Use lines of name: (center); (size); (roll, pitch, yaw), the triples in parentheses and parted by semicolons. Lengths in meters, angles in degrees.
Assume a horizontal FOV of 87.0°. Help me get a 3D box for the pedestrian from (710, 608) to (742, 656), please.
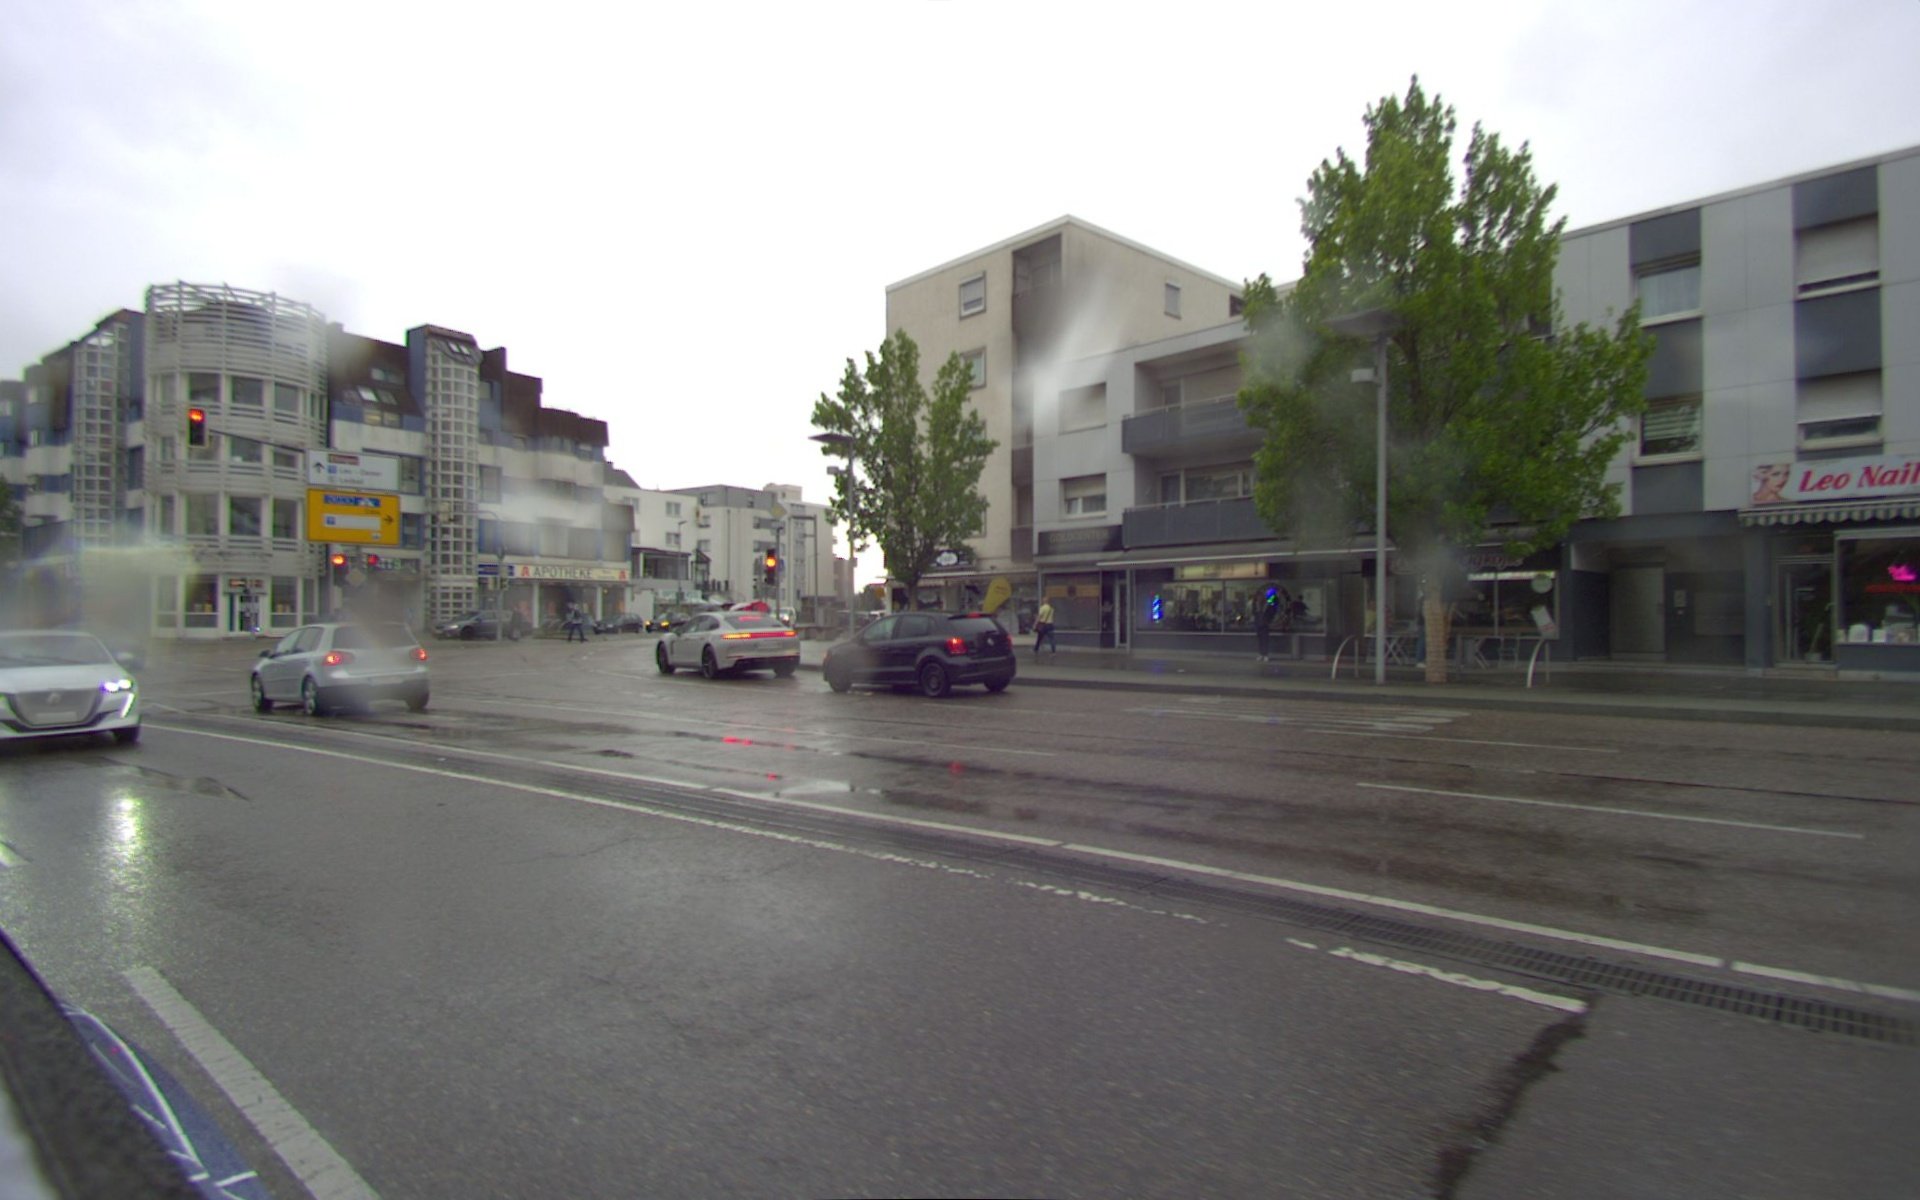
pedestrian: (-9.471, 1.305, 41.006); (0.892, 1.929, 0.978); (1, -3, -44)

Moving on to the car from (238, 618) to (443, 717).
car: (-10.440, 1.099, 16.959); (3.996, 1.462, 1.740); (-3, -3, 39)

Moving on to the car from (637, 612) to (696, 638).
car: (-20.605, 1.771, 71.192); (1.740, 1.733, 3.857); (-2, -2, 29)

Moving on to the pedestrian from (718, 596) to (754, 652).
pedestrian: (-8.251, 0.882, 37.242); (0.892, 2.029, 0.978); (1, -3, -44)

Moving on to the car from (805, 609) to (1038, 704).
car: (-0.759, 0.951, 17.464); (4.002, 1.438, 1.737); (-3, -3, 45)

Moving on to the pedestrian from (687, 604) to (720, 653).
pedestrian: (-10.224, 1.136, 40.293); (0.892, 1.929, 0.978); (1, -3, -44)

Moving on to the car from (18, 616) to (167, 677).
car: (-24.346, 1.304, 28.588); (1.649, 1.555, 3.923); (-1, -2, -15)

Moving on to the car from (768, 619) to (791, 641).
car: (-17.010, 2.805, 95.265); (1.967, 2.029, 4.609); (0, -2, -12)

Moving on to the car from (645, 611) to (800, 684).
car: (-5.473, 1.020, 22.800); (1.734, 1.438, 4.900); (0, -2, -35)

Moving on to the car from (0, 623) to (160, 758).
car: (-11.775, 1.069, 12.867); (3.871, 1.473, 1.852); (-2, -2, 41)

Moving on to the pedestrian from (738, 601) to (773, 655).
pedestrian: (-7.691, 1.054, 38.057); (0.892, 2.029, 0.978); (1, -3, -44)

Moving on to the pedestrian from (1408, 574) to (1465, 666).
pedestrian: (10.694, 0.456, 22.704); (0.749, 2.029, 0.865); (1, -3, -40)

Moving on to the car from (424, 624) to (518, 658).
car: (-22.836, 1.891, 47.401); (1.624, 1.501, 3.808); (-2, -2, 24)

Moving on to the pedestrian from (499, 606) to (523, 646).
pedestrian: (-19.937, 1.157, 44.955); (0.825, 1.756, 0.586); (0, -1, -37)

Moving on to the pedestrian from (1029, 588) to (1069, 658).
pedestrian: (2.620, 0.672, 29.917); (0.749, 2.029, 0.865); (1, -3, -44)

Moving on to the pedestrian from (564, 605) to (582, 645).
pedestrian: (-17.434, 1.120, 45.589); (0.672, 1.756, 0.587); (-1, -1, -17)

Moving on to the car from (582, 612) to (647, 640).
car: (-22.343, 1.694, 65.507); (1.740, 1.733, 3.857); (-2, -2, 29)

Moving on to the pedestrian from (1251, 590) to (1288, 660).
pedestrian: (7.910, 0.645, 25.905); (0.541, 1.764, 0.681); (1, -3, -41)

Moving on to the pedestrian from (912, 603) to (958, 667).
pedestrian: (-0.668, 0.926, 27.087); (0.995, 1.658, 0.727); (0, -2, -44)
